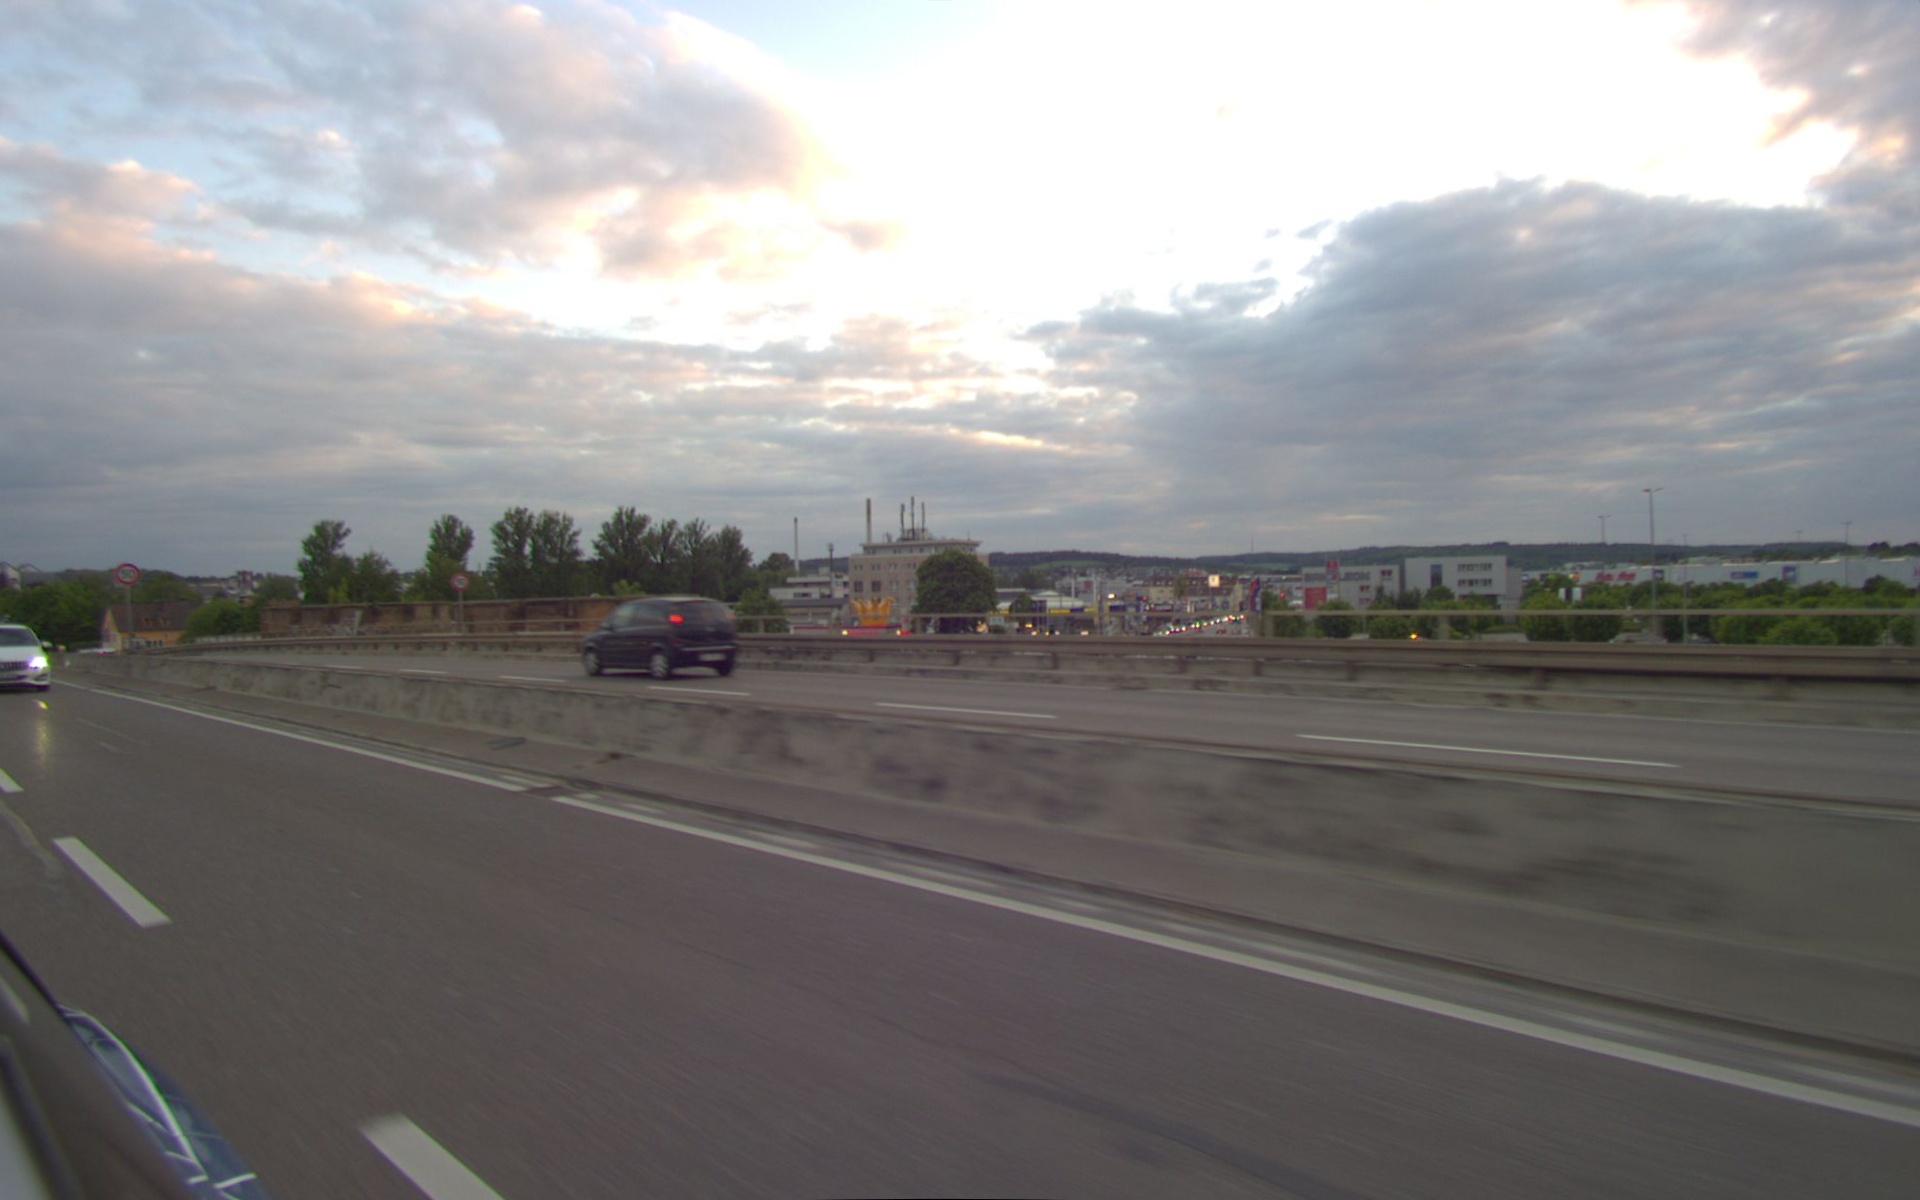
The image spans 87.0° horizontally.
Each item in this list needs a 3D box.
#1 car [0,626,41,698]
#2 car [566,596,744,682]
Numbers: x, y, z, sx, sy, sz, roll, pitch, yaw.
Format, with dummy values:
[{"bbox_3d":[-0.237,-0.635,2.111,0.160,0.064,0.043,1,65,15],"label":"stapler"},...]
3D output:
[{"bbox_3d":[-22.841,1.455,23.624,4.783,1.549,1.672,-3,-1,43],"label":"car"},{"bbox_3d":[-6.330,0.756,20.807,4.041,1.606,1.639,-1,0,42],"label":"car"}]
